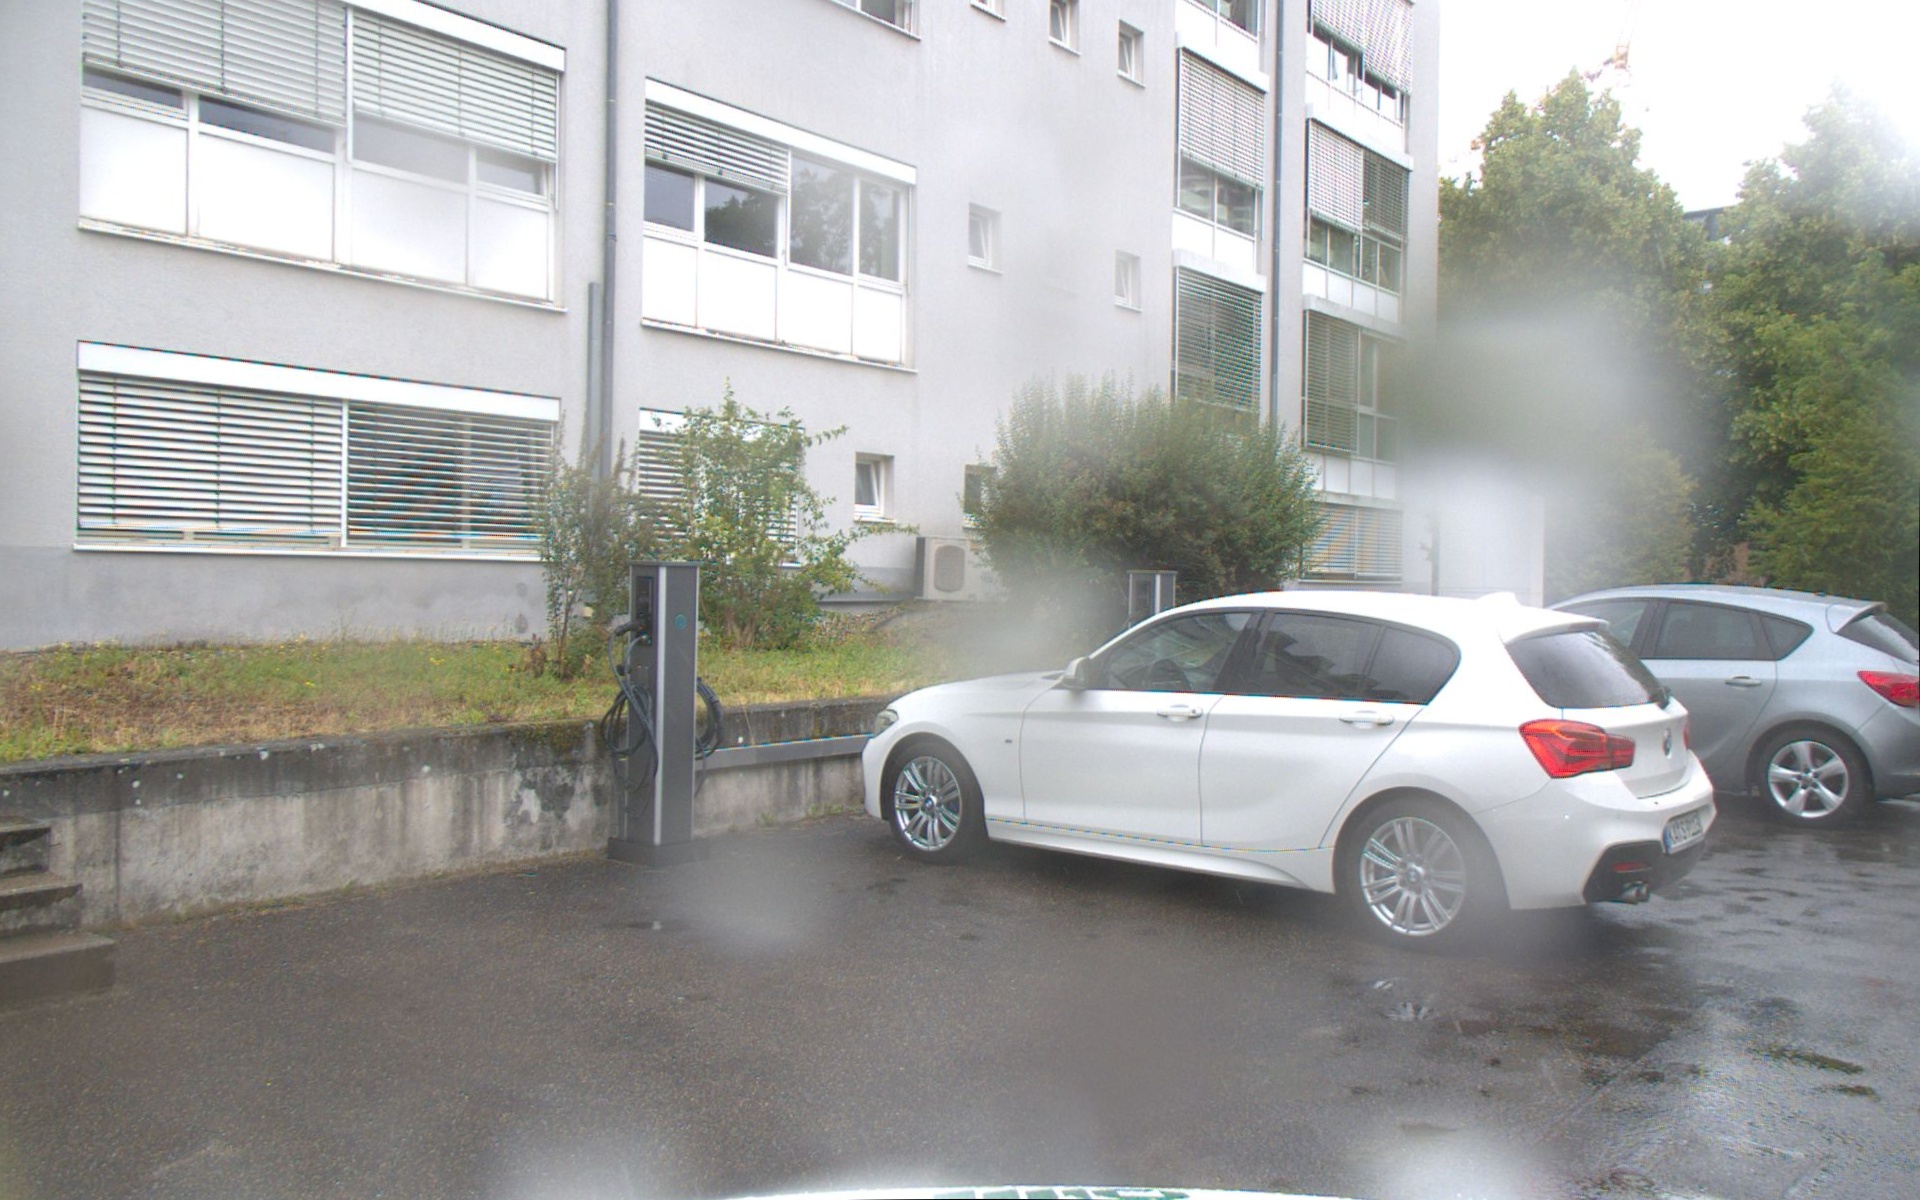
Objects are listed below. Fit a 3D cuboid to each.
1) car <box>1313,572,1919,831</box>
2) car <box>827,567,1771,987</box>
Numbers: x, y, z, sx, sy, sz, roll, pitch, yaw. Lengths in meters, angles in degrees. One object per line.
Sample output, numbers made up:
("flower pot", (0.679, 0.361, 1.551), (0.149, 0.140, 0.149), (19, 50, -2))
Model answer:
("car", (4.897, 0.598, 11.967), (4.142, 1.515, 1.990), (1, 0, 40))
("car", (1.523, 0.636, 8.195), (4.142, 1.515, 1.990), (1, 0, 40))
